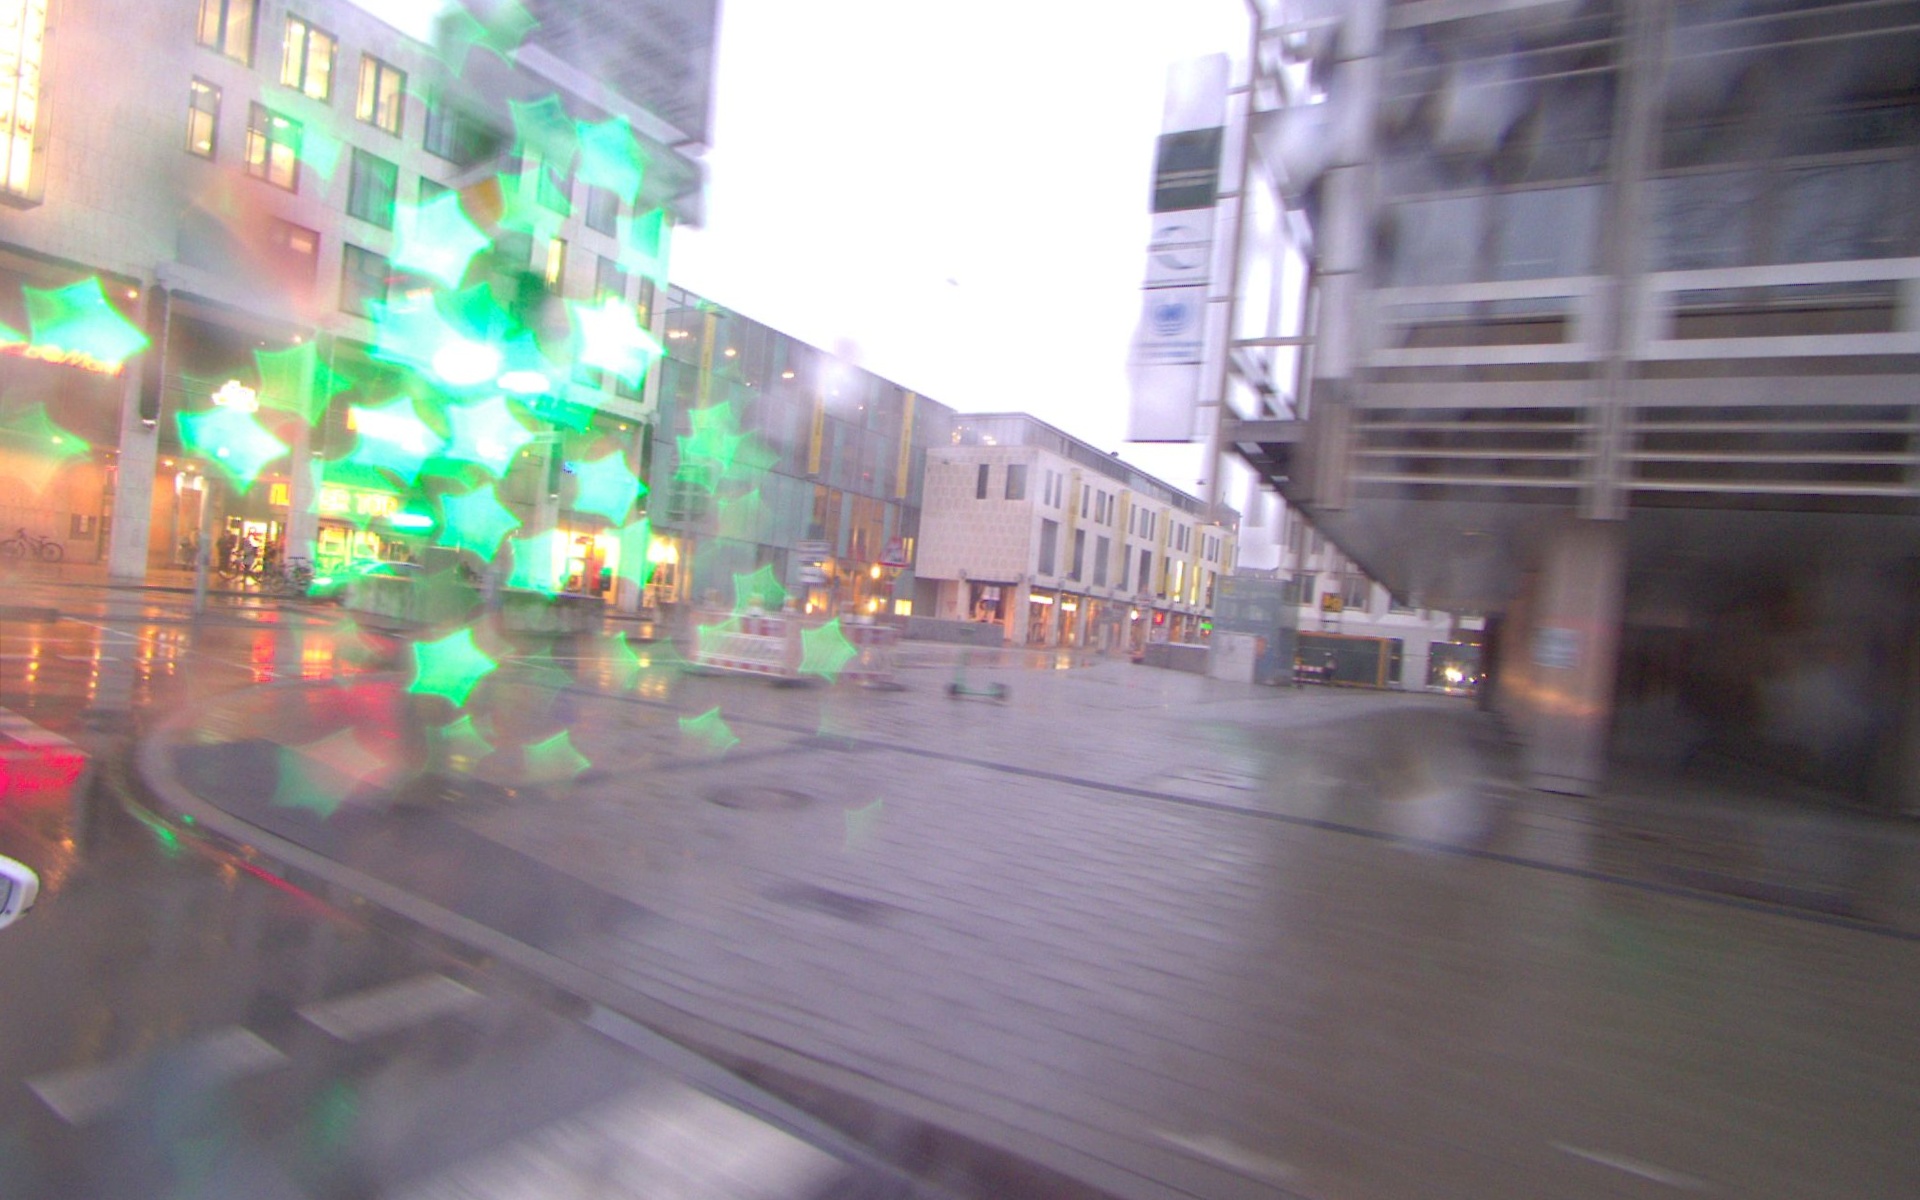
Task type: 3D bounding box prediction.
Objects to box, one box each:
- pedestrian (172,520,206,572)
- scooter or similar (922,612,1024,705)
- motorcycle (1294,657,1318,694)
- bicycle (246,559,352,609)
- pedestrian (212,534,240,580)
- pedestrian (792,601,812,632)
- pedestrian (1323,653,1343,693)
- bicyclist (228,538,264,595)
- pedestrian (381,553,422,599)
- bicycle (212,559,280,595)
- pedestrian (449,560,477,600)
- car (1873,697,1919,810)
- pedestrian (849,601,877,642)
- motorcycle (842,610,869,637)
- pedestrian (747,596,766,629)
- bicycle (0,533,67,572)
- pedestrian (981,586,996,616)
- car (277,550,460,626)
[{"bbox_3d":[-31.756,-2.213,41.445,0.688,2.038,0.845,6,0,39],"label":"pedestrian"},{"bbox_3d":[0.216,0.978,16.946,1.470,1.368,0.593,6,-1,31],"label":"scooter or similar"},{"bbox_3d":[14.101,3.083,40.970,0.584,1.368,1.494,6,-2,28],"label":"motorcycle"},{"bbox_3d":[-21.778,-0.492,33.219,0.941,1.375,2.718,5,-1,27],"label":"bicycle"},{"bbox_3d":[-29.164,-1.711,39.982,0.730,1.739,0.733,5,0,-32],"label":"pedestrian"},{"bbox_3d":[-9.464,0.994,60.261,0.770,1.703,0.742,5,-2,37],"label":"pedestrian"},{"bbox_3d":[17.743,3.474,47.853,0.678,1.796,0.660,6,-1,15],"label":"pedestrian"},{"bbox_3d":[-26.608,-1.249,37.489,0.916,2.038,0.898,6,0,-36],"label":"bicyclist"},{"bbox_3d":[-22.781,-0.961,41.014,0.810,1.703,1.032,5,-2,30],"label":"pedestrian"},{"bbox_3d":[-26.623,-0.847,37.517,1.950,1.099,0.917,7,-1,-38],"label":"bicycle"},{"bbox_3d":[-22.327,-0.886,45.203,0.519,1.705,0.894,5,0,30],"label":"pedestrian"},{"bbox_3d":[13.930,2.105,12.122,3.934,1.327,1.995,5,0,32],"label":"car"},{"bbox_3d":[-4.277,0.942,44.545,0.770,1.703,0.742,5,-2,37],"label":"pedestrian"},{"bbox_3d":[-5.995,1.337,57.774,0.585,1.368,1.491,6,-2,35],"label":"motorcycle"},{"bbox_3d":[-10.877,0.666,53.760,0.573,1.703,0.542,5,-2,37],"label":"pedestrian"},{"bbox_3d":[-31.960,-1.617,34.660,0.515,1.082,1.651,5,-2,27],"label":"bicycle"},{"bbox_3d":[1.732,0.049,60.796,0.573,1.703,0.542,5,-2,37],"label":"pedestrian"},{"bbox_3d":[-16.963,-0.312,29.054,1.967,1.636,3.994,5,-3,32],"label":"car"}]
